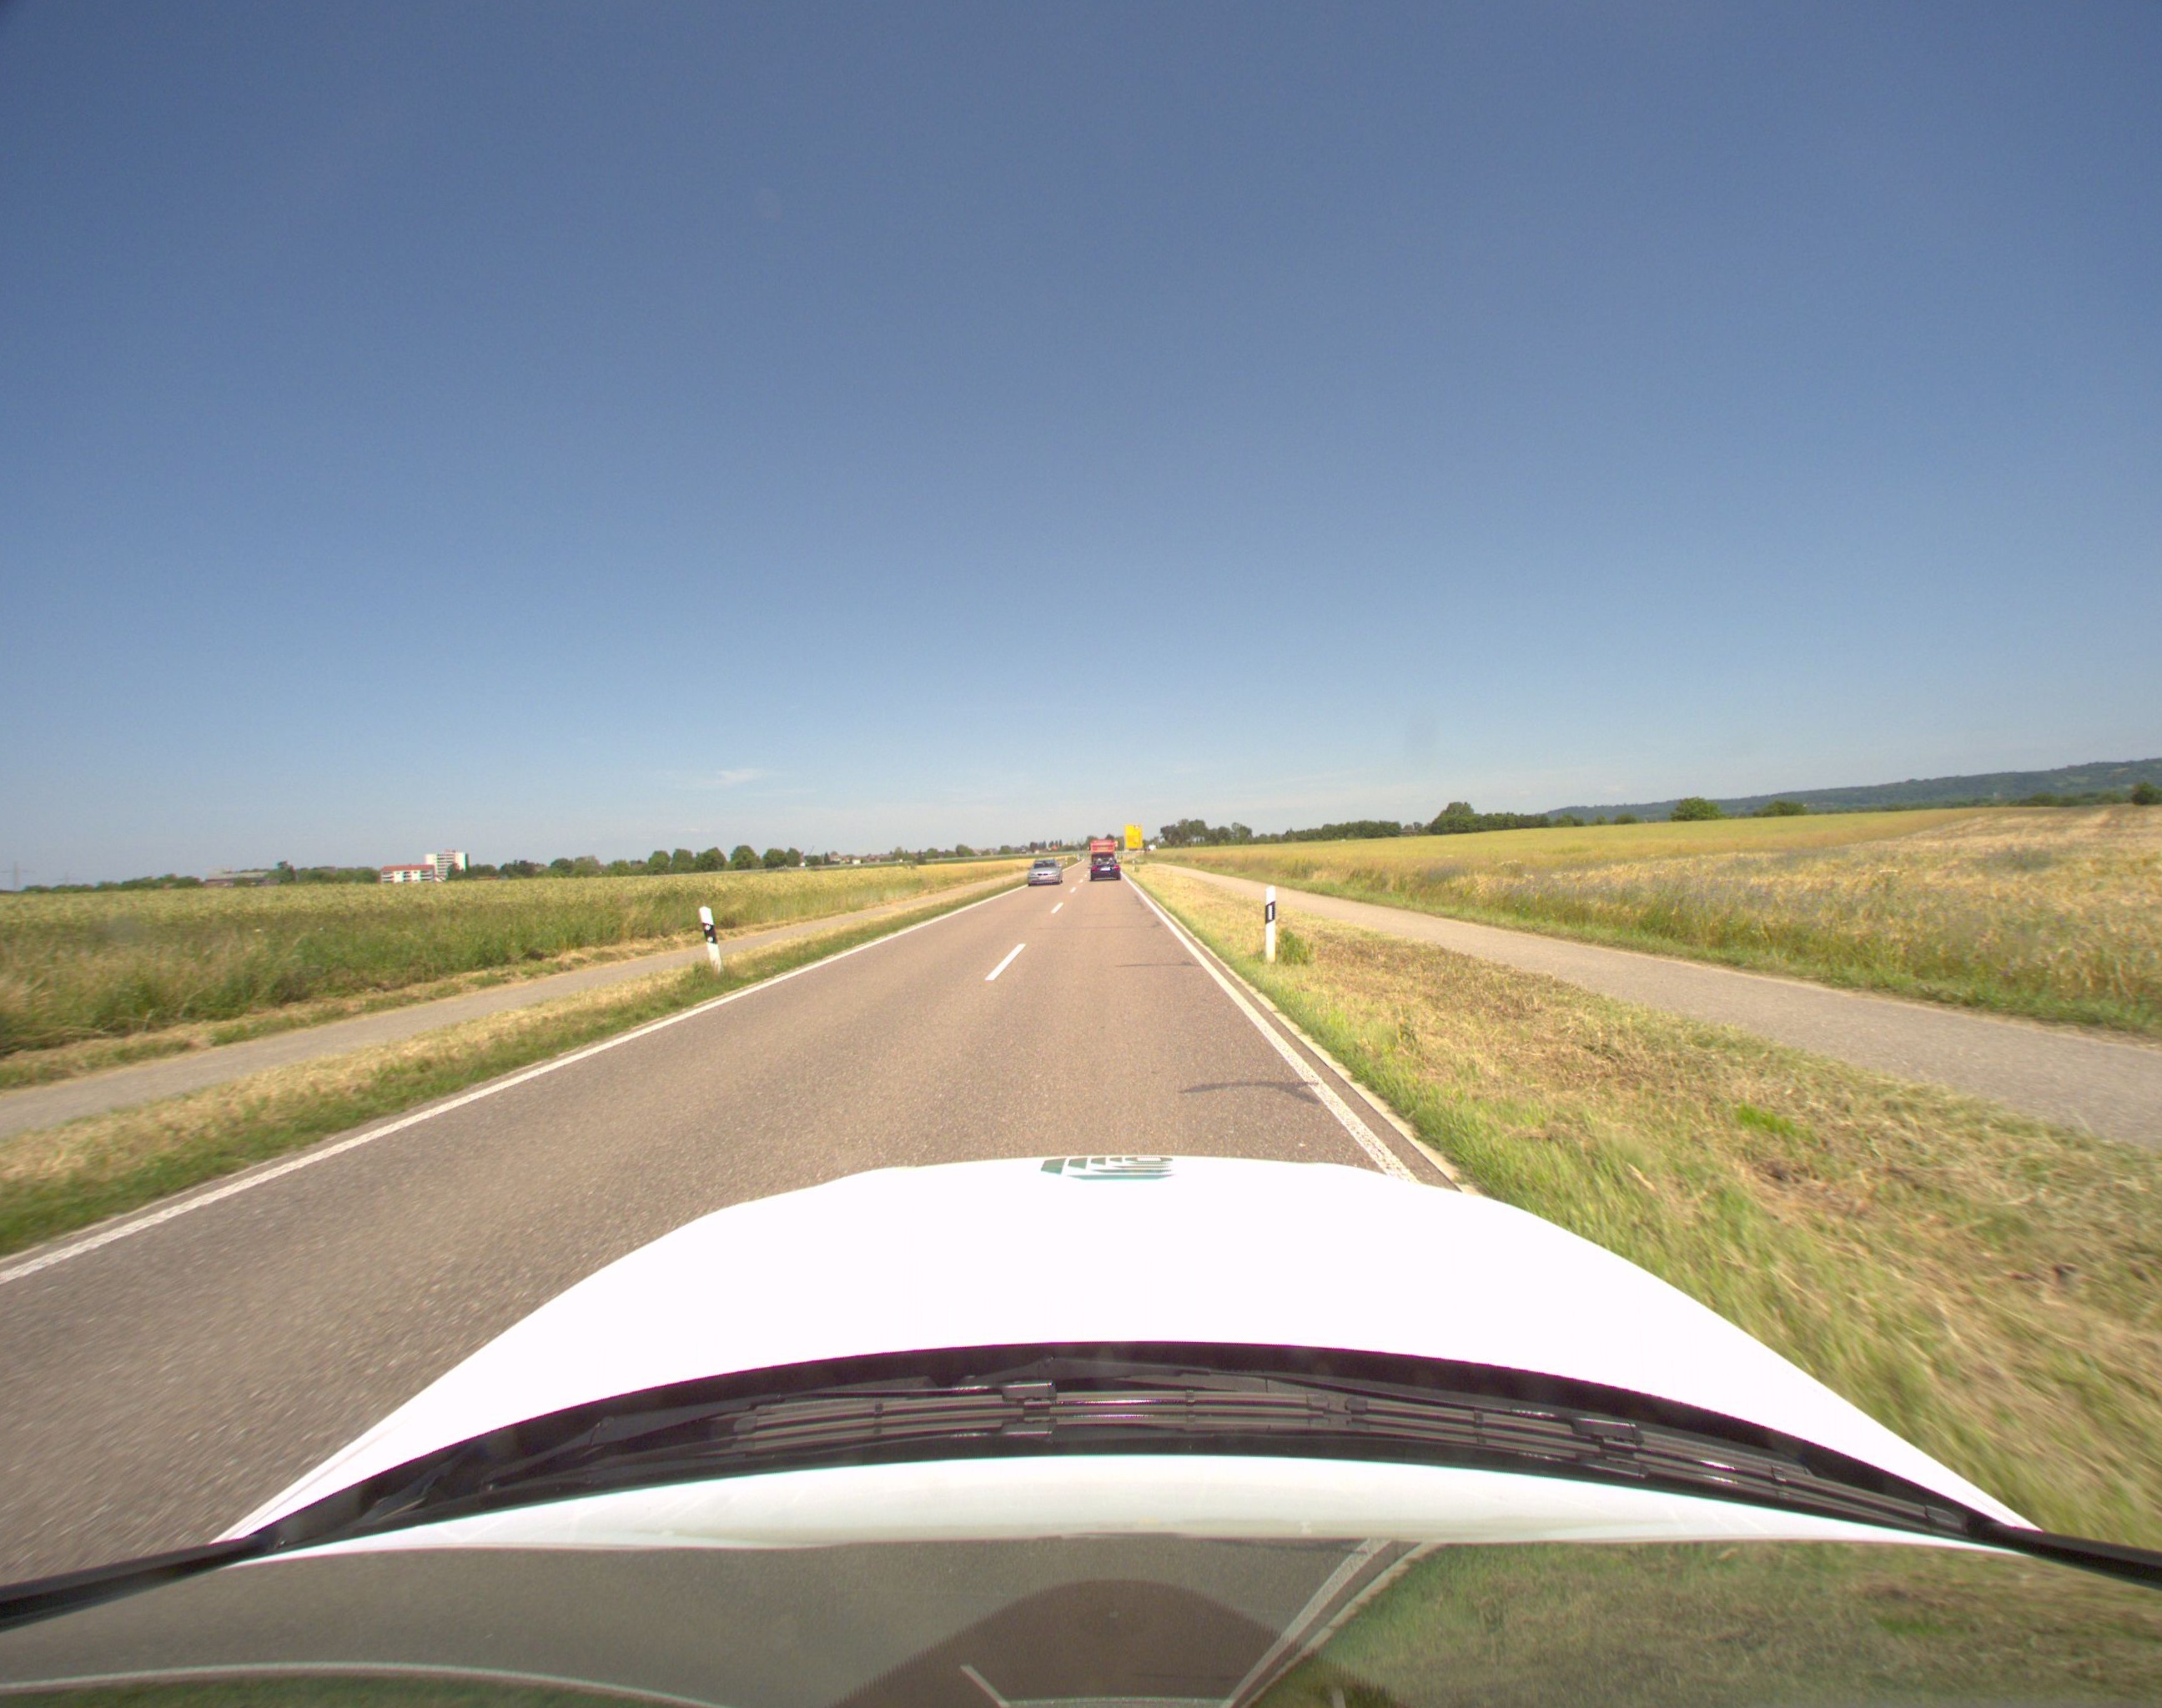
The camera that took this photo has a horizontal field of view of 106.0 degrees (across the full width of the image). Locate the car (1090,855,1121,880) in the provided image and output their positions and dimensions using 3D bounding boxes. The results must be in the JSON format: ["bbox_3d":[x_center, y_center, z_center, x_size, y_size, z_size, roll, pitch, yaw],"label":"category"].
[{"bbox_3d":[1.454,0.792,47.737,1.741,1.375,3.680,-1,-1,2],"label":"car"}]

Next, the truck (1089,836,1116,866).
[{"bbox_3d":[2.389,-0.318,89.072,2.704,3.052,8.166,-2,-1,1],"label":"truck"}]

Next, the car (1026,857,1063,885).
[{"bbox_3d":[-1.984,0.912,45.009,1.741,1.400,4.033,-2,-1,1],"label":"car"}]
